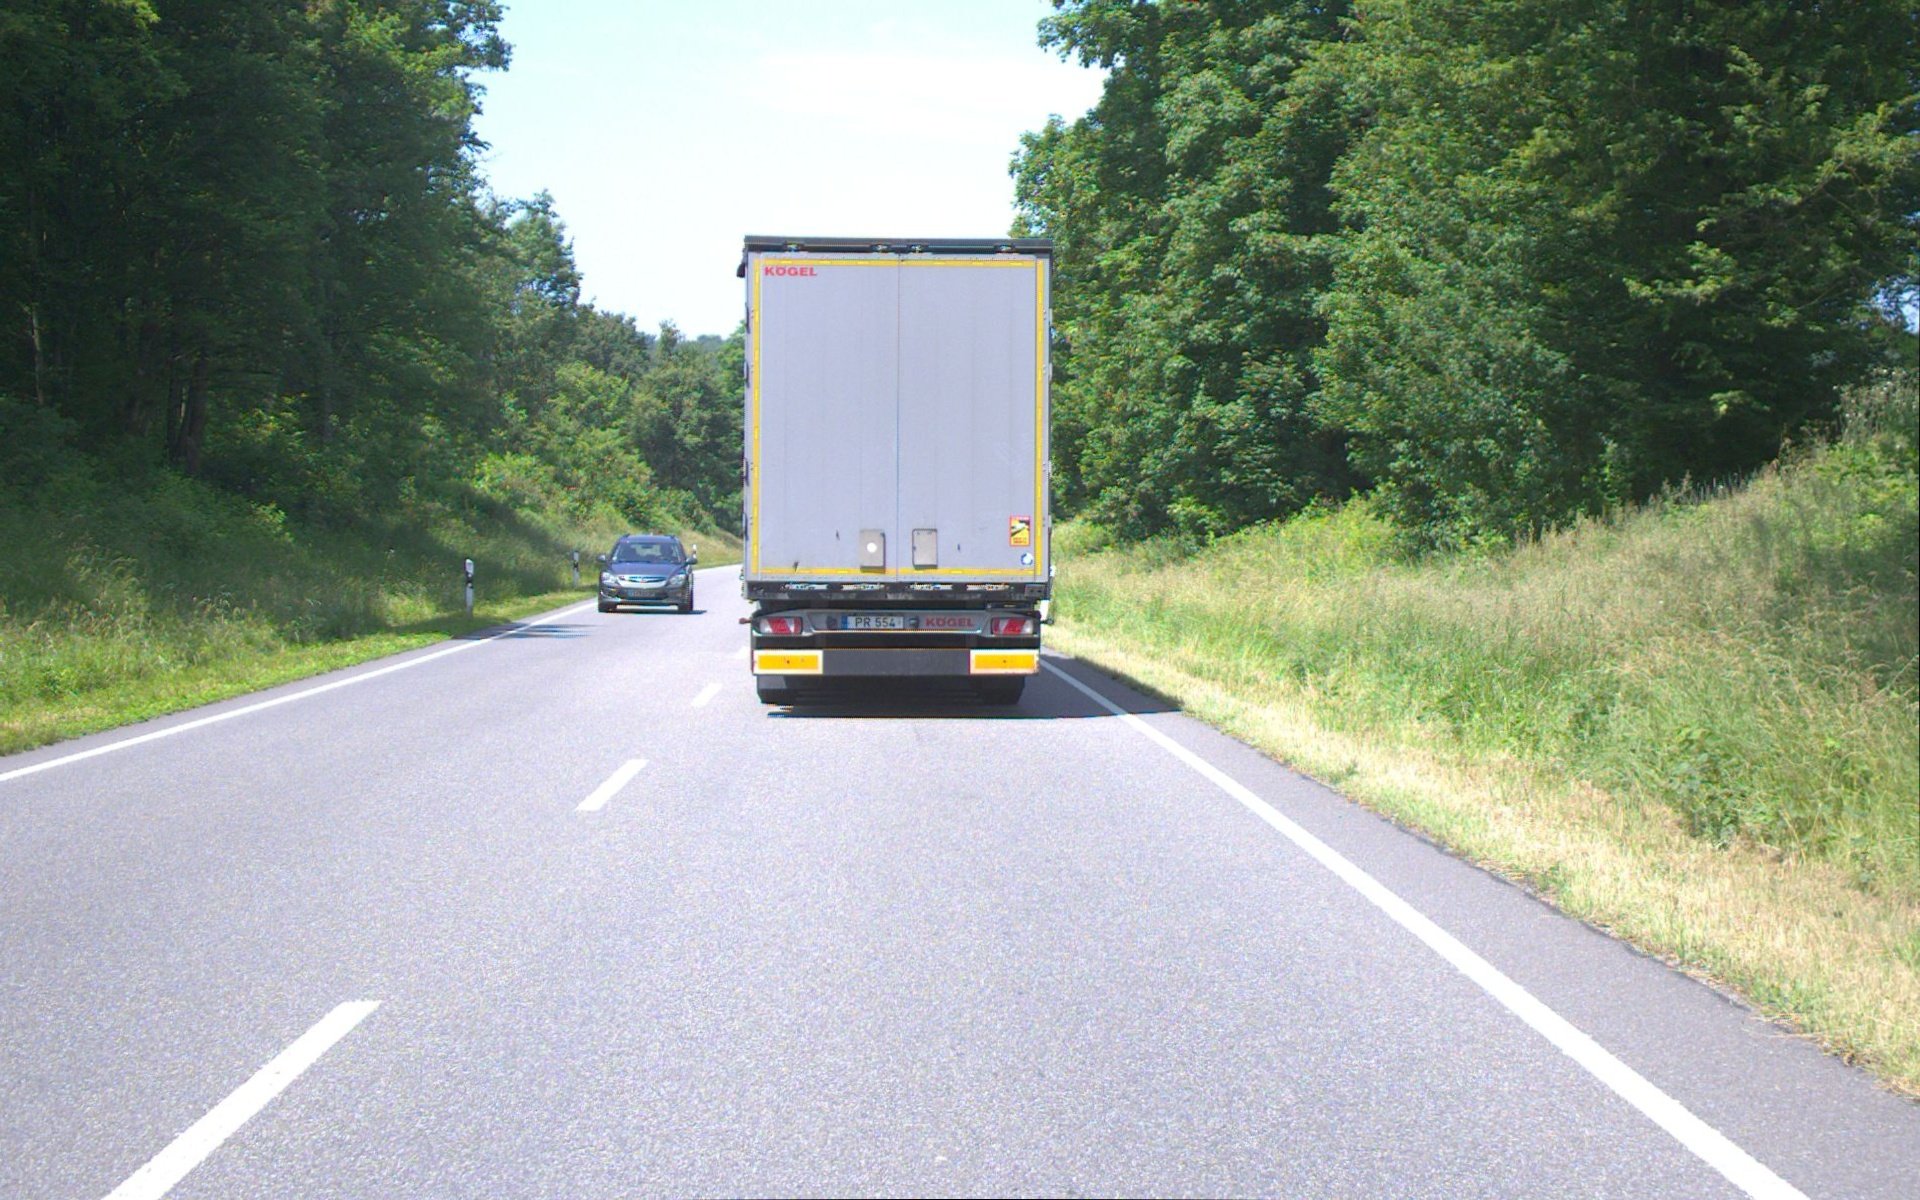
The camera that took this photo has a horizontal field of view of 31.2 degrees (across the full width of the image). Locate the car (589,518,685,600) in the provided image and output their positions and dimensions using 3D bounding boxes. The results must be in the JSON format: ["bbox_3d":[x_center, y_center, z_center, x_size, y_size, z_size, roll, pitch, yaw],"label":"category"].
[{"bbox_3d":[-6.423,-0.831,68.632,1.771,1.565,4.218,1,1,-4],"label":"car"}]

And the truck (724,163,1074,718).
[{"bbox_3d":[-0.736,-1.417,34.073,2.817,4.517,11.769,1,1,-2],"label":"truck"}]
